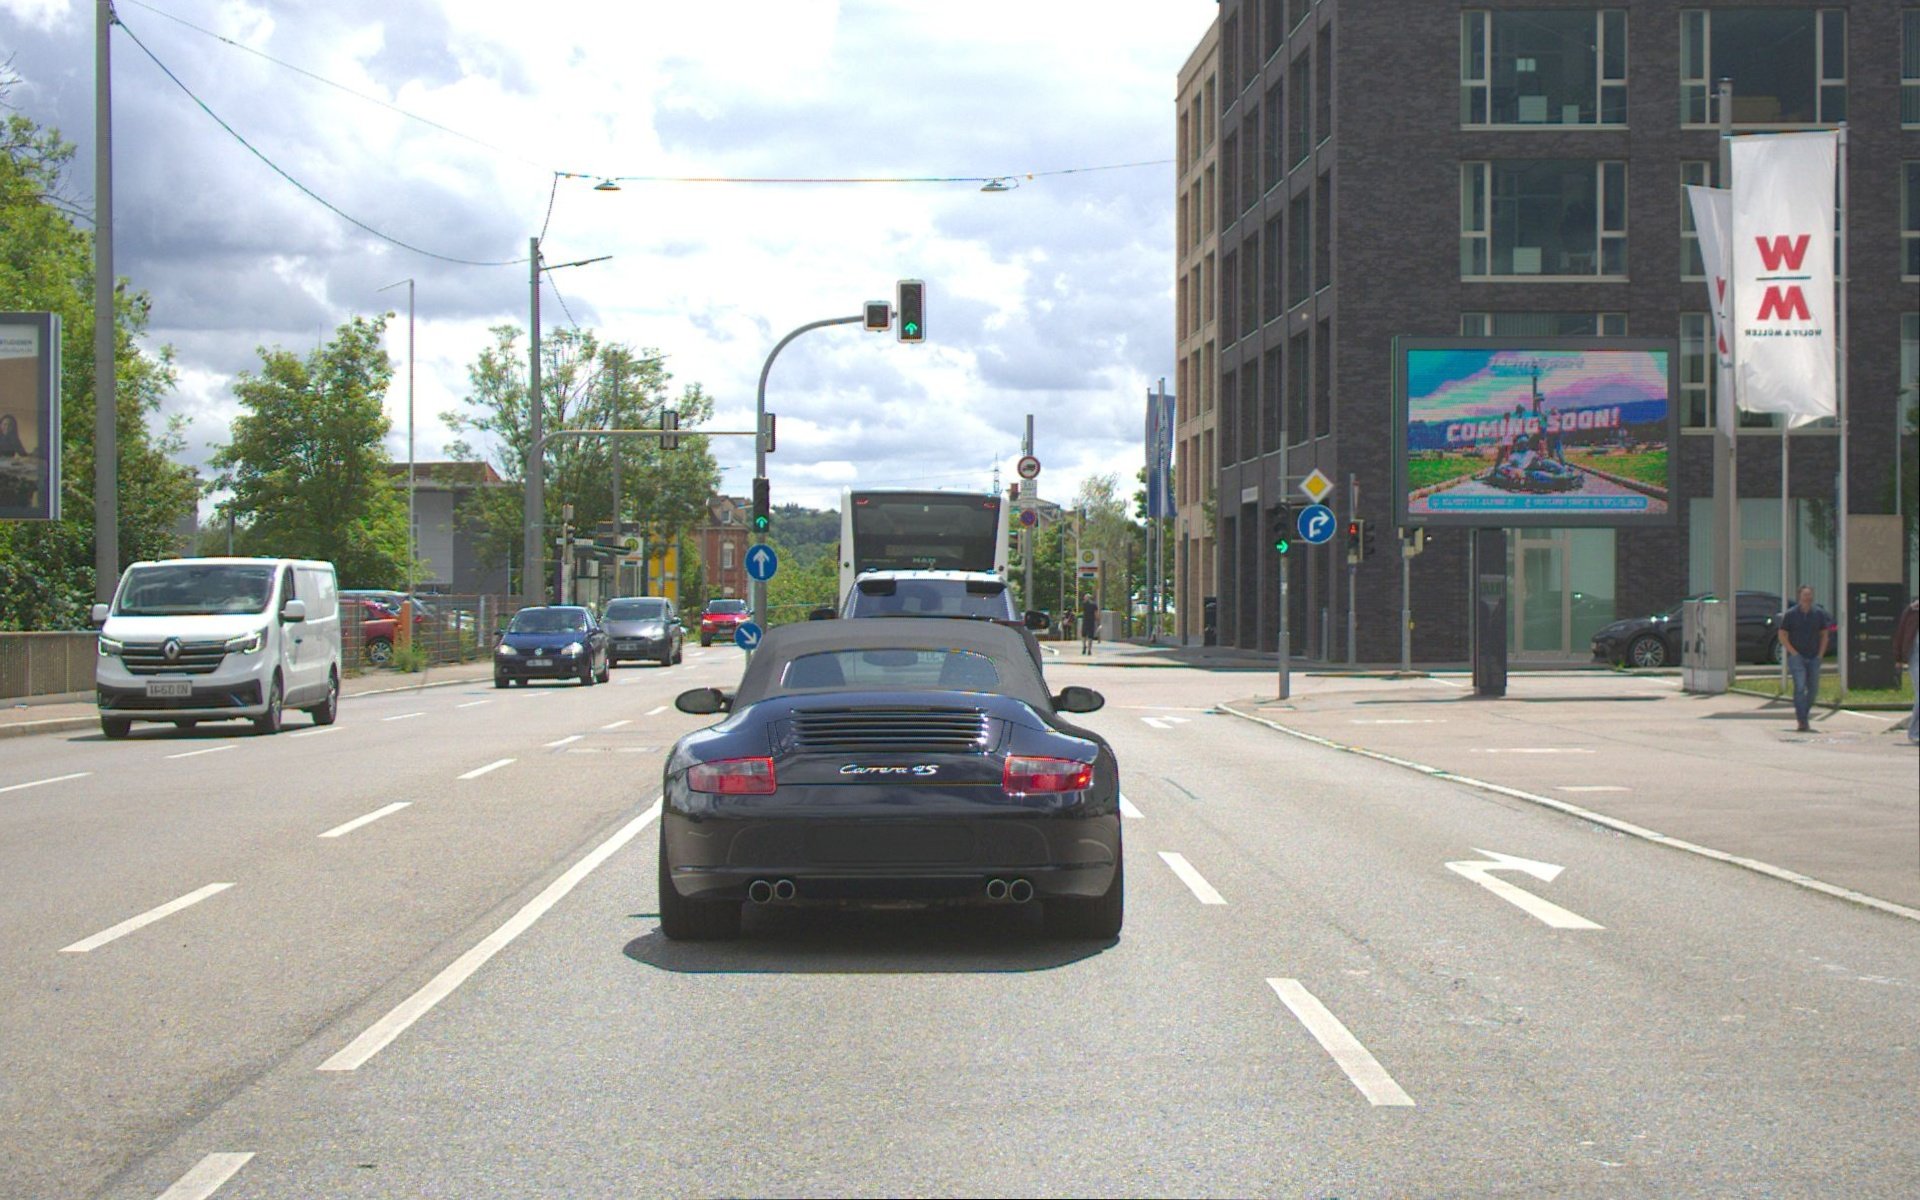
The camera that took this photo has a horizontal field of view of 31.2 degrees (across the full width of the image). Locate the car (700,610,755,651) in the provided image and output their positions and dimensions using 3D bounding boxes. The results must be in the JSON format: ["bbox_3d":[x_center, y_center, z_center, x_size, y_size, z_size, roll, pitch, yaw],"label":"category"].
[{"bbox_3d":[-8.026,1.046,119.008,1.662,1.411,3.803,0,0,0],"label":"car"}]

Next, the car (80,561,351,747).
[{"bbox_3d":[-8.230,0.564,38.486,1.901,1.880,5.313,-2,0,-1],"label":"car"}]

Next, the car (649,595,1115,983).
[{"bbox_3d":[-0.308,0.707,14.921,1.720,1.271,4.088,1,2,0],"label":"car"}]

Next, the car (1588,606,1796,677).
[{"bbox_3d":[14.972,0.850,70.410,3.929,1.426,1.474,0,0,0],"label":"car"}]

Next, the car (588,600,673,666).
[{"bbox_3d":[-7.810,0.766,81.789,1.662,1.542,3.803,0,0,0],"label":"car"}]

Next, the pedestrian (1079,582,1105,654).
[{"bbox_3d":[3.699,0.502,96.444,0.666,2.007,0.769,0,0,-2],"label":"pedestrian"}]

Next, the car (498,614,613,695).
[{"bbox_3d":[-7.325,0.976,62.555,1.662,1.411,3.803,0,0,0],"label":"car"}]

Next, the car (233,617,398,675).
[{"bbox_3d":[-14.087,1.000,75.252,3.511,1.259,1.390,0,0,-10],"label":"car"}]

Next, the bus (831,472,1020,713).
[{"bbox_3d":[-0.503,-0.332,56.867,2.689,3.244,12.059,2,3,0],"label":"bus"}]

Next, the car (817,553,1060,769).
[{"bbox_3d":[-0.261,0.461,29.743,1.879,1.588,4.230,2,2,-3],"label":"car"}]

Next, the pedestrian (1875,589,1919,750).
[{"bbox_3d":[10.208,0.730,36.474,0.707,1.690,0.924,0,0,-4],"label":"pedestrian"}]

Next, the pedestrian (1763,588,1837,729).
[{"bbox_3d":[9.979,0.690,40.855,0.670,1.656,0.742,0,0,-2],"label":"pedestrian"}]
